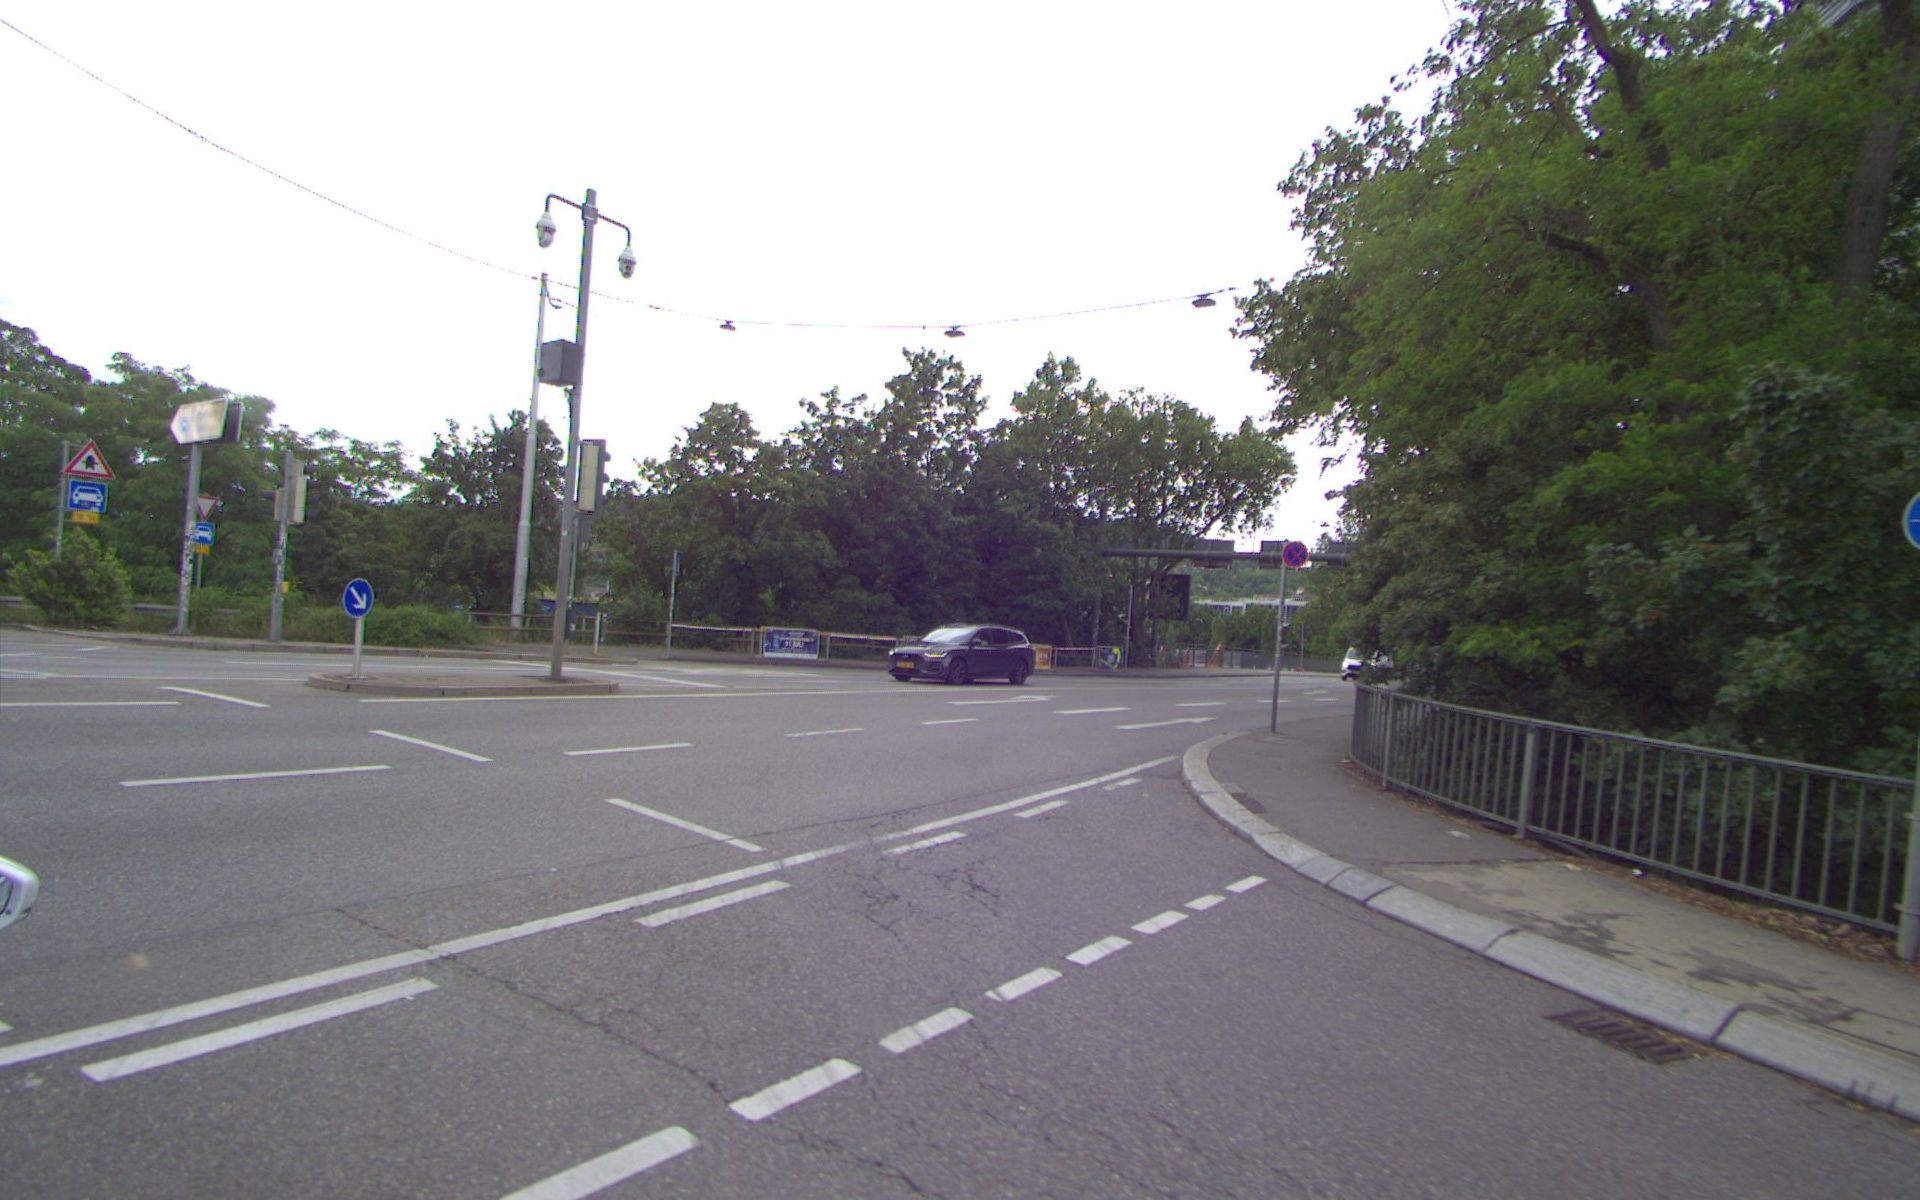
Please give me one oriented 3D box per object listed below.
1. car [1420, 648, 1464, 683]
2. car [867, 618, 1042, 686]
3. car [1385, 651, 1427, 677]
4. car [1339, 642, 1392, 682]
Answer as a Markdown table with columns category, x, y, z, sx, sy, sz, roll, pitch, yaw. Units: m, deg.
| category | x | y | z | sx | sy | sz | roll | pitch | yaw |
| --- | --- | --- | --- | --- | --- | --- | --- | --- | --- |
| car | 39.585 | 5.388 | 82.538 | 2.296 | 2.555 | 4.934 | 6 | -1 | 35 |
| car | -0.034 | 1.279 | 24.535 | 1.907 | 1.437 | 4.434 | 2 | -2 | 37 |
| car | 38.504 | 5.485 | 86.805 | 2.296 | 1.941 | 4.930 | 4 | 1 | 34 |
| car | 24.157 | 3.724 | 59.782 | 1.904 | 2.022 | 4.442 | 5 | -2 | 34 |
